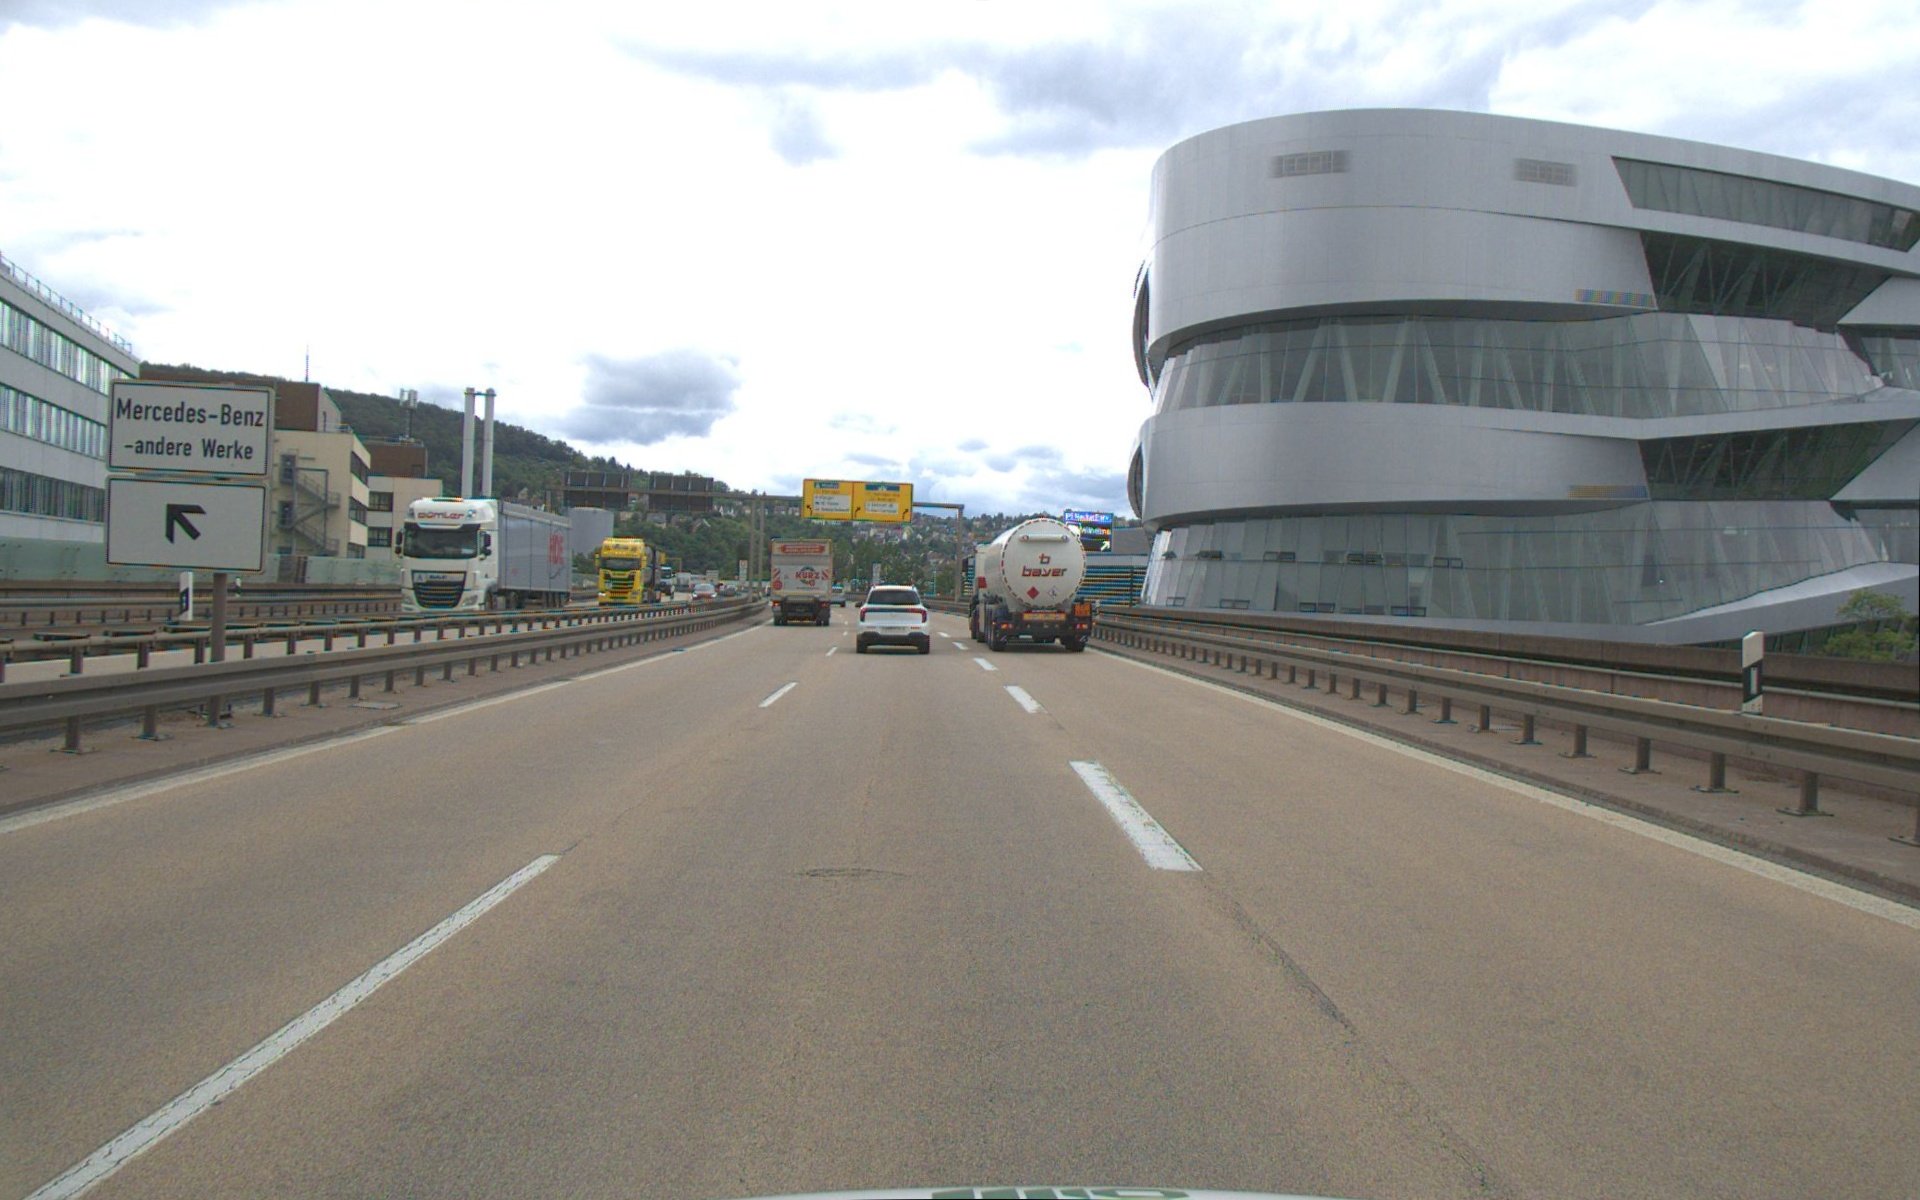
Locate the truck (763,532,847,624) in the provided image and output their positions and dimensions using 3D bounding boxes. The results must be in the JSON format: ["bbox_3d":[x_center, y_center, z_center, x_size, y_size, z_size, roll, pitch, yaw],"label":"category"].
[{"bbox_3d":[-6.643,-0.875,72.111,2.995,3.755,8.301,1,0,-1],"label":"truck"}]

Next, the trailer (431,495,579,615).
[{"bbox_3d":[-16.853,-1.479,62.258,2.788,4.057,11.878,1,0,-3],"label":"trailer"}]

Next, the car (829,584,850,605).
[{"bbox_3d":[-10.211,-0.471,140.406,1.649,1.679,4.357,2,0,-3],"label":"car"}]

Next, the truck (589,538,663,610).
[{"bbox_3d":[-20.405,-1.467,101.611,2.997,4.136,11.845,1,0,-5],"label":"truck"}]

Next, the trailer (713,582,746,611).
[{"bbox_3d":[-16.597,-0.219,119.185,1.954,2.049,3.997,1,-1,-3],"label":"trailer"}]

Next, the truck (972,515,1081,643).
[{"bbox_3d":[1.987,-0.597,51.814,2.953,3.721,6.271,1,-1,-2],"label":"truck"}]

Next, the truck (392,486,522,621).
[{"bbox_3d":[-16.342,-1.422,54.127,2.717,4.151,5.642,1,-1,-3],"label":"truck"}]

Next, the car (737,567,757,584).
[{"bbox_3d":[-22.408,-2.561,174.385,1.955,1.634,4.801,1,0,-6],"label":"car"}]

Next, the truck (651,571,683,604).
[{"bbox_3d":[-35.434,-1.493,200.328,2.999,3.842,12.498,1,0,-7],"label":"truck"}]

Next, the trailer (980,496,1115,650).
[{"bbox_3d":[2.266,-0.662,45.925,2.995,3.856,8.300,1,0,-2],"label":"trailer"}]

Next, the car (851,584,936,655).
[{"bbox_3d":[-1.648,0.489,42.430,1.953,1.704,4.408,1,0,0],"label":"car"}]
